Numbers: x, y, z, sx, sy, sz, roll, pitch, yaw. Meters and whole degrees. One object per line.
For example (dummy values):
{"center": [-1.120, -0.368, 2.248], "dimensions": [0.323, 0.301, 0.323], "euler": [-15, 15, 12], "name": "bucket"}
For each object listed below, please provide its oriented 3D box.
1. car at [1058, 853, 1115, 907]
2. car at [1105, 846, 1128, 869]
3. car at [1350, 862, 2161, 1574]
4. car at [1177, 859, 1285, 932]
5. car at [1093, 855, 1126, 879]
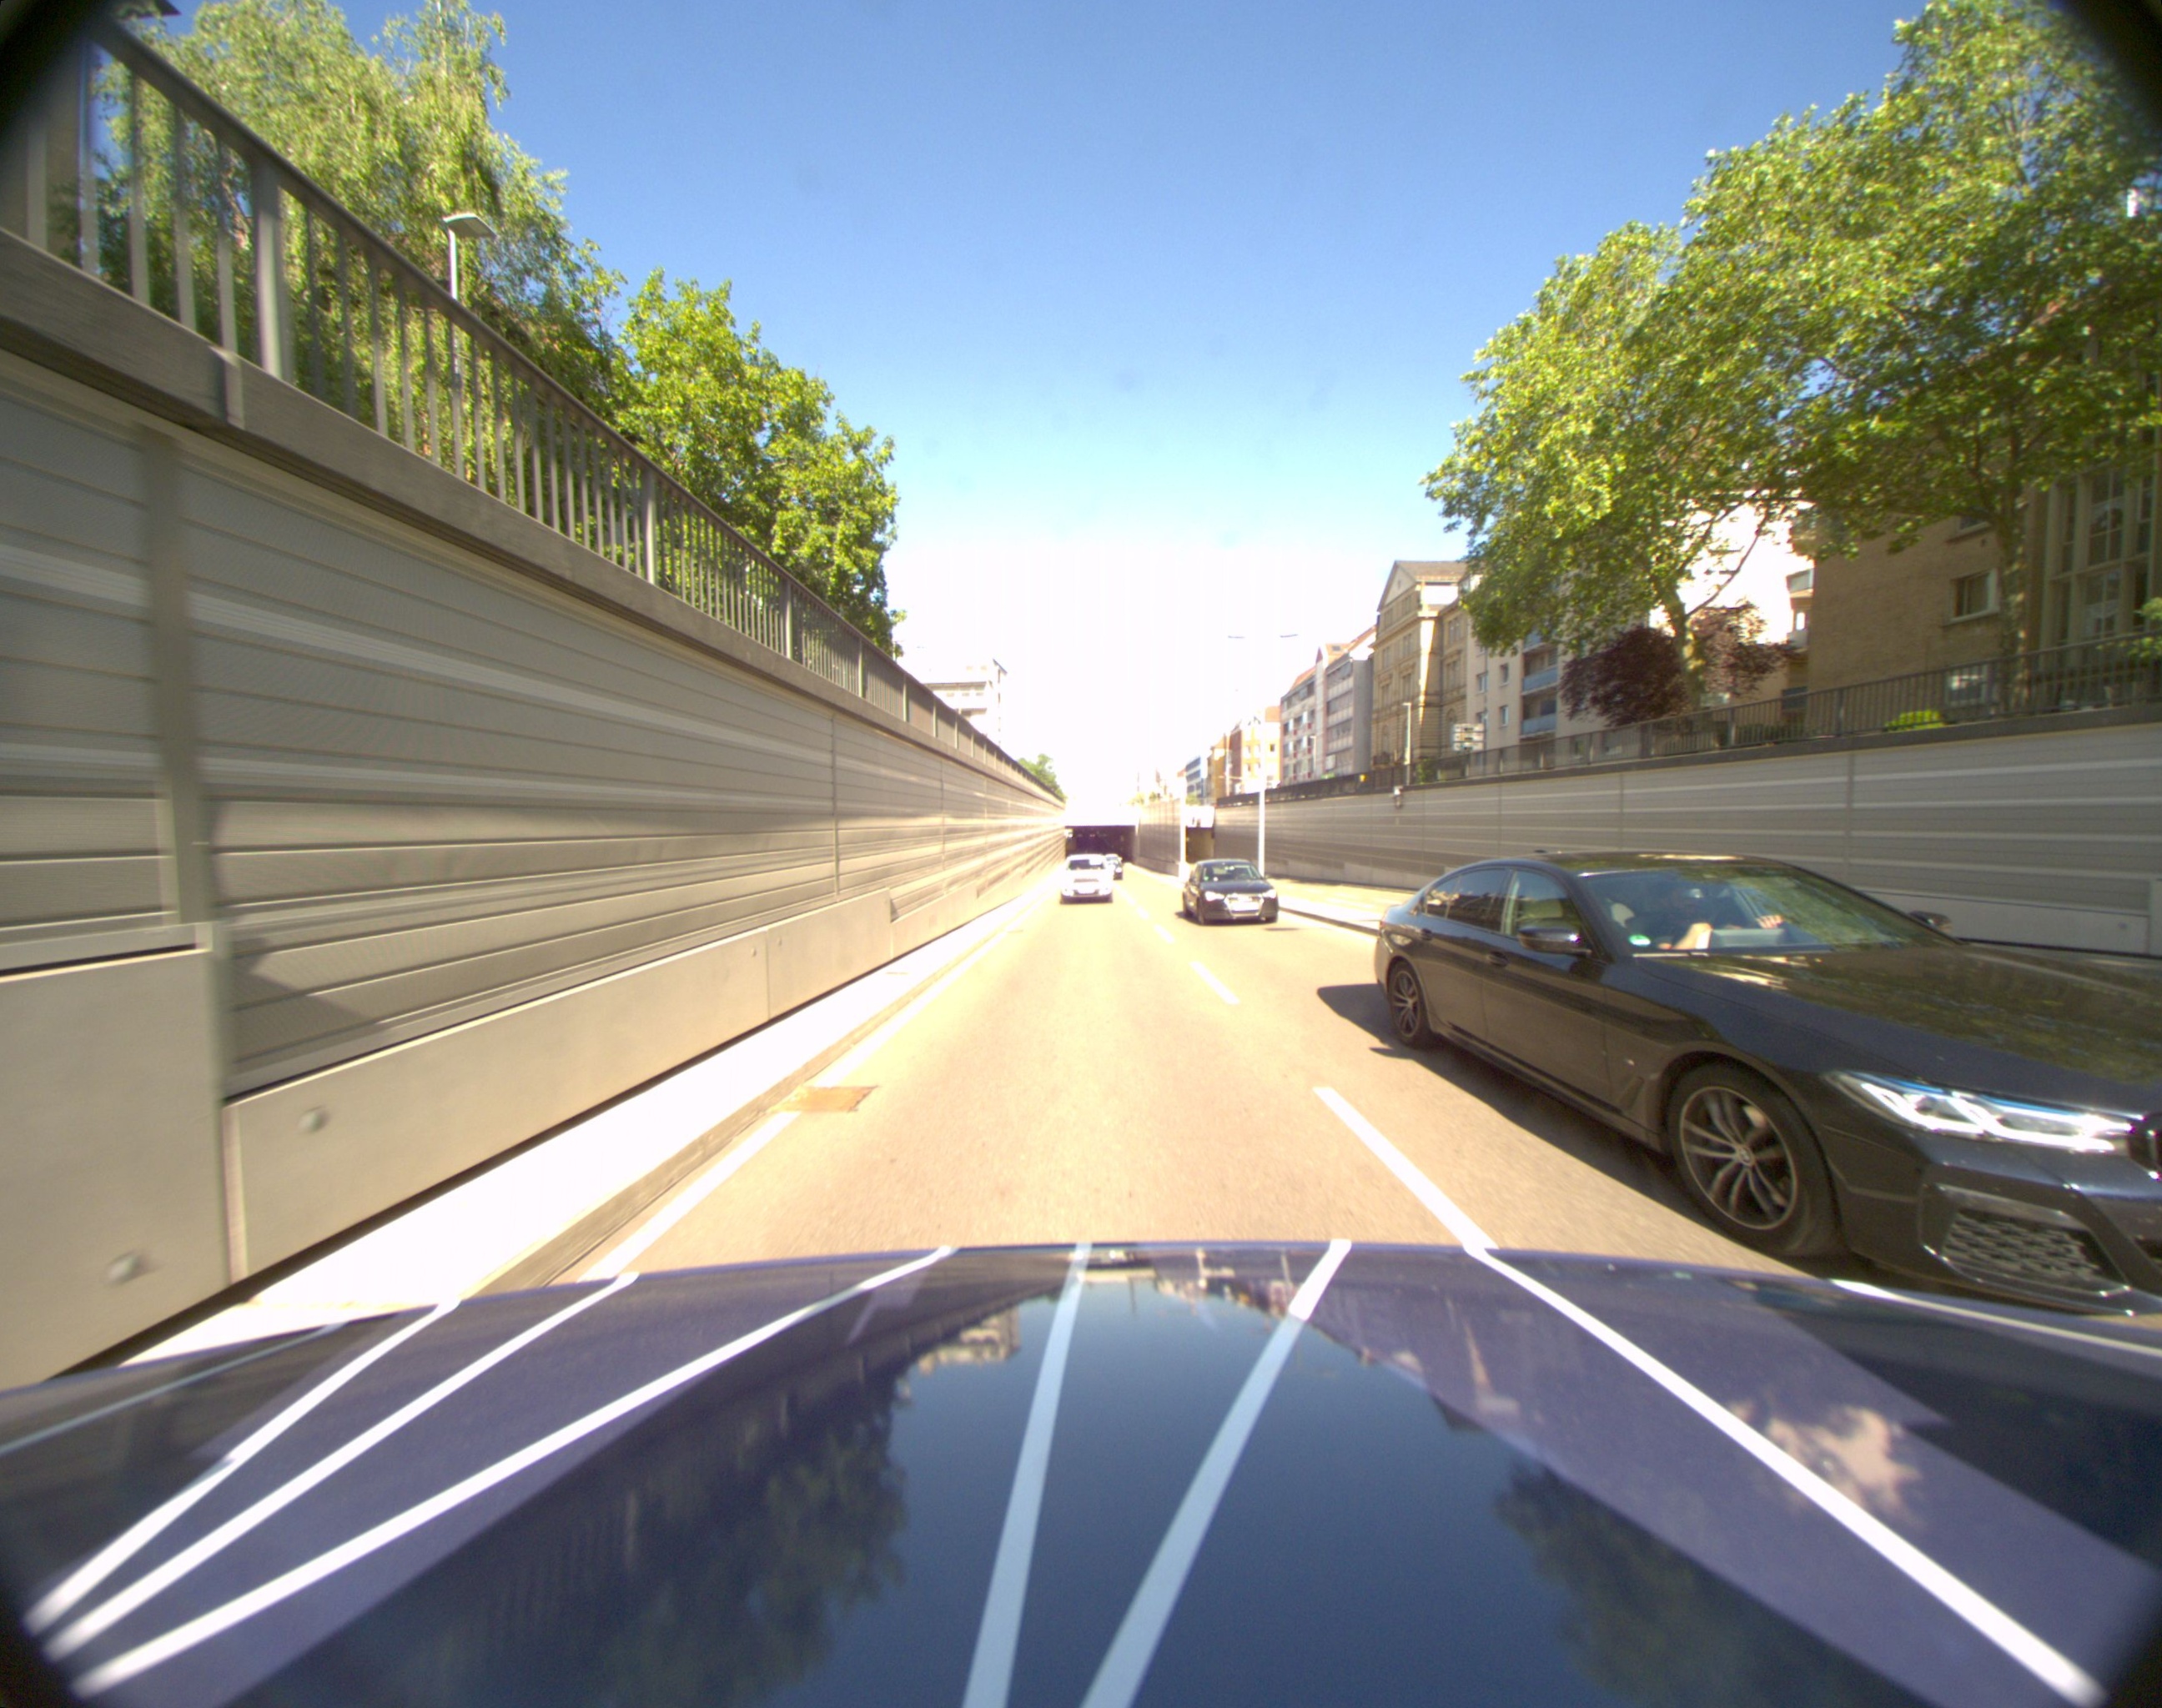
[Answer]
{"center": [0.206, 0.861, 27.303], "dimensions": [1.855, 1.658, 3.969], "euler": [-2, 1, 1], "name": "car"}
{"center": [3.523, 0.317, 76.249], "dimensions": [1.999, 2.003, 3.998], "euler": [-2, 2, -1], "name": "car"}
{"center": [3.283, 0.833, 4.175], "dimensions": [1.813, 1.431, 5.002], "euler": [-2, 0, 0], "name": "car"}
{"center": [3.345, 0.867, 17.603], "dimensions": [1.700, 1.410, 3.888], "euler": [-2, 0, 0], "name": "car"}
{"center": [1.853, 0.832, 50.453], "dimensions": [1.998, 1.407, 3.999], "euler": [-2, 1, 1], "name": "car"}
